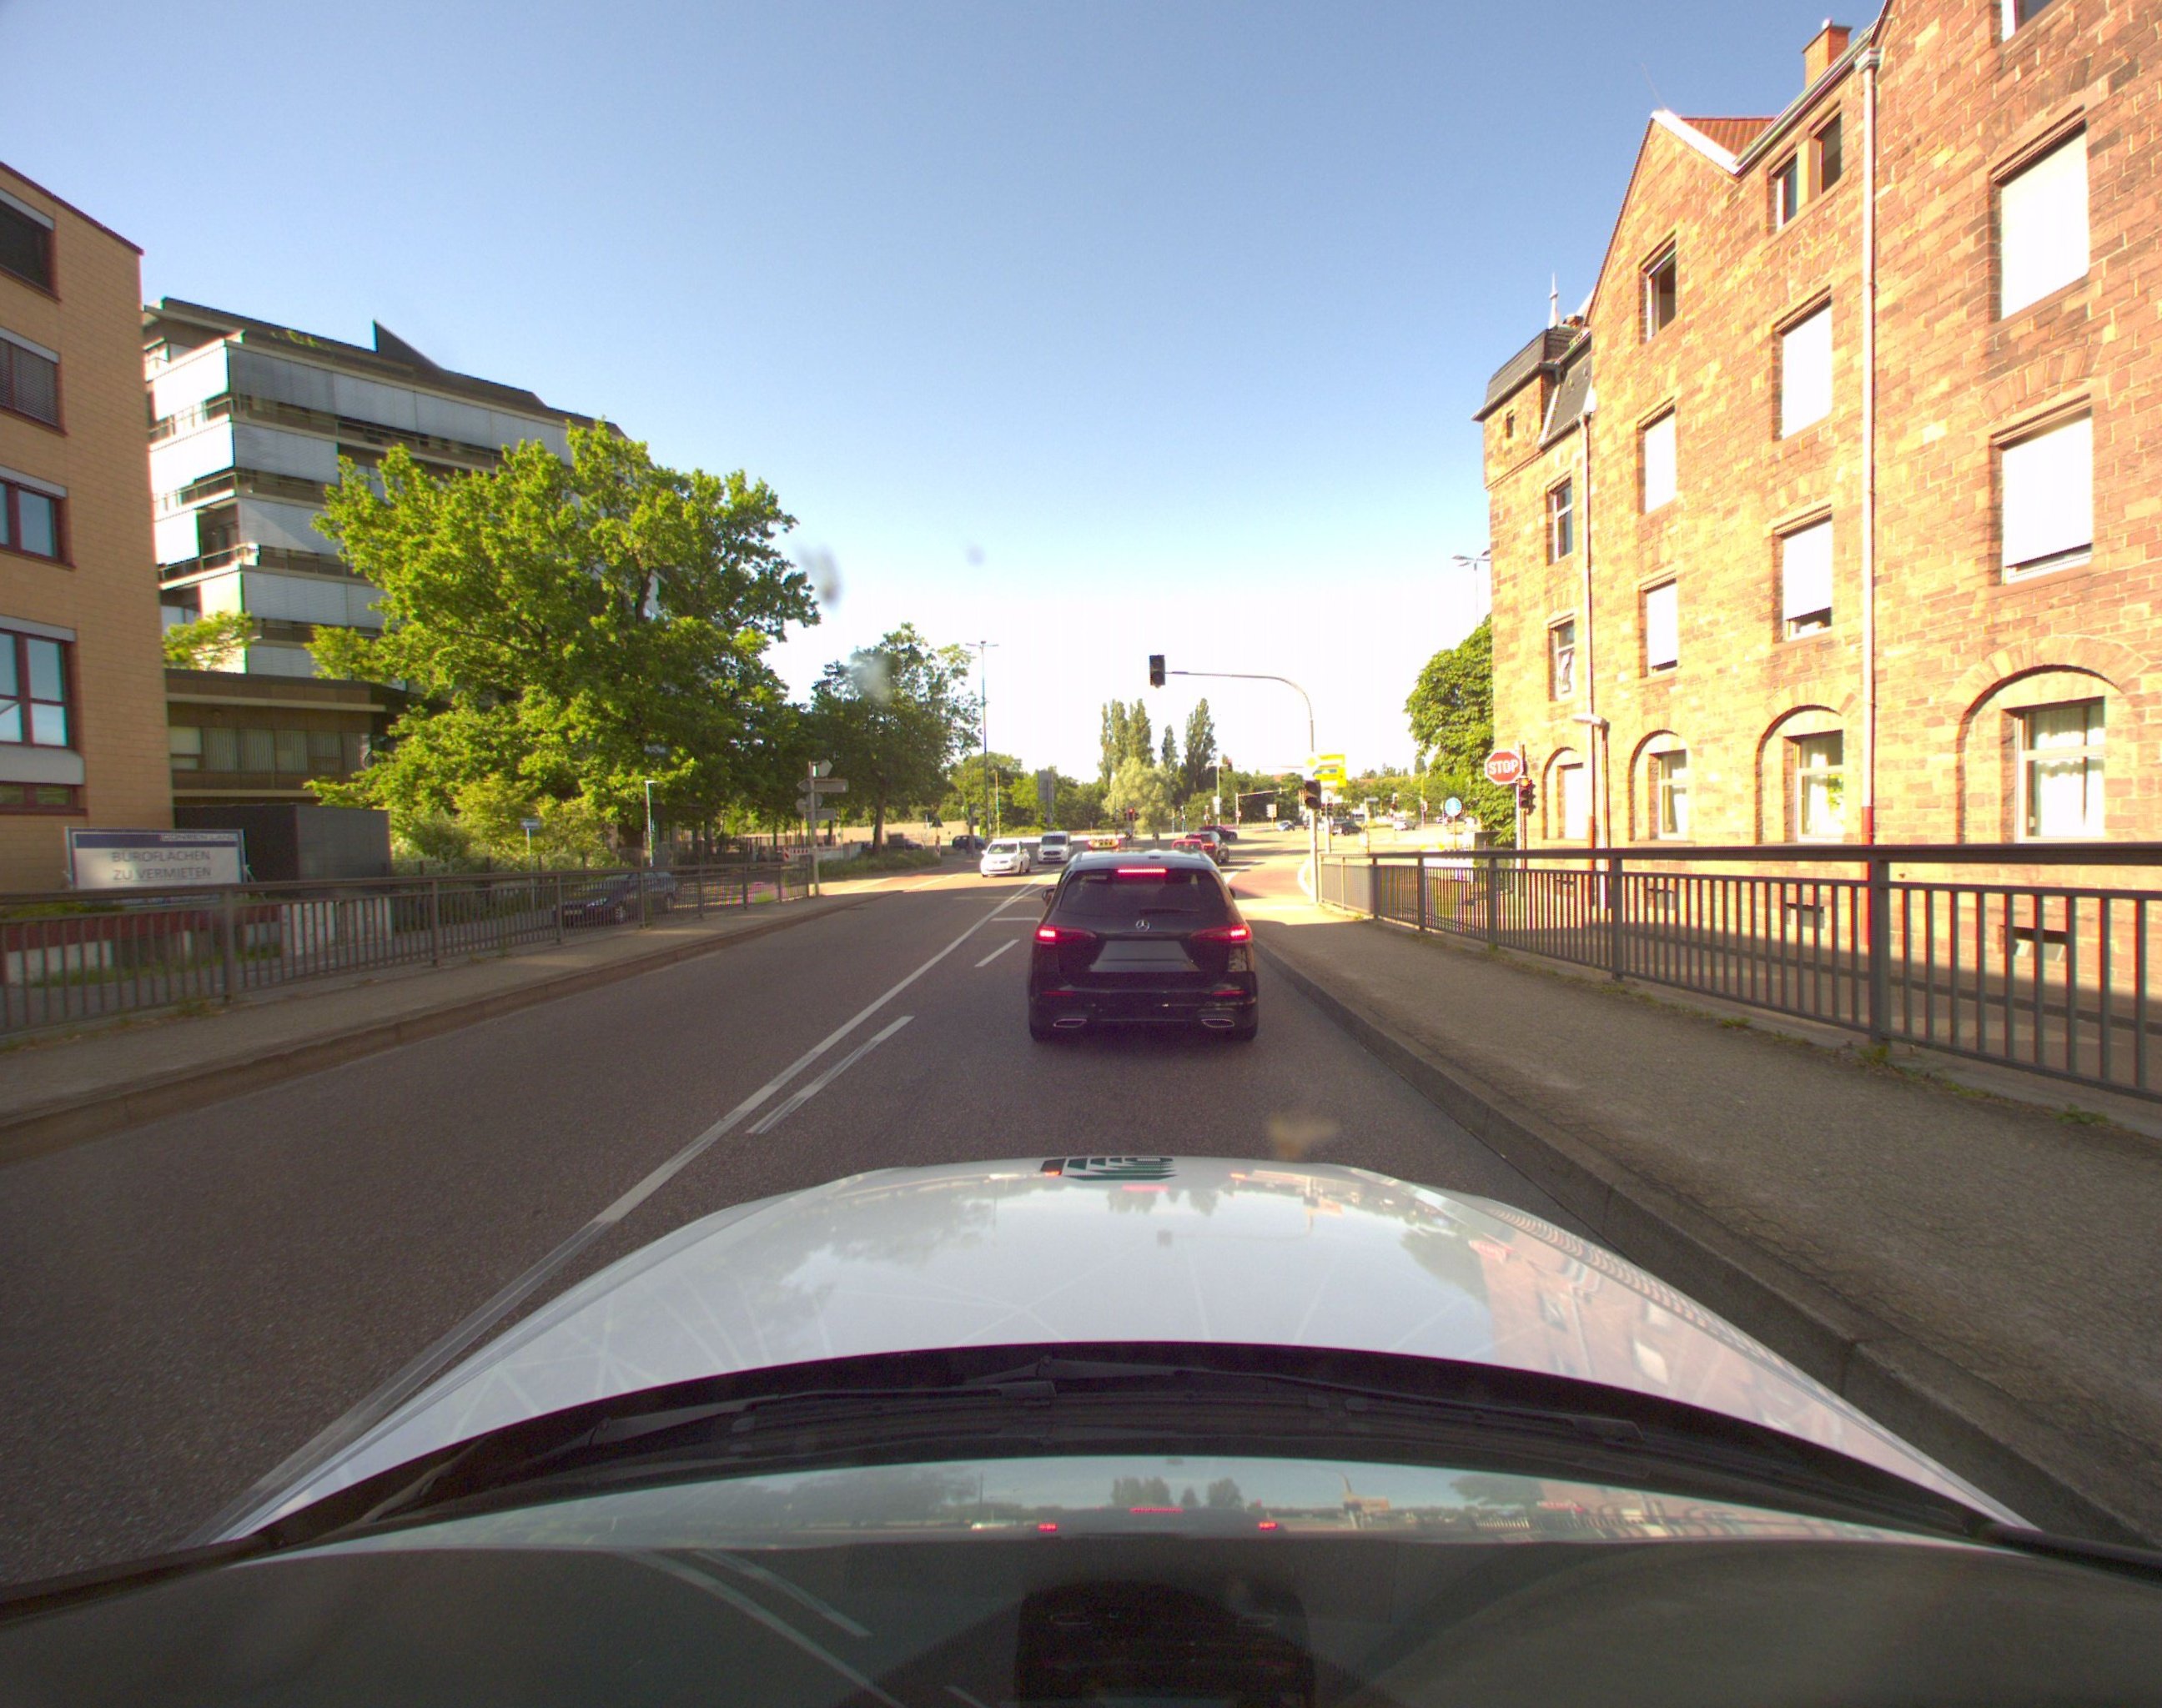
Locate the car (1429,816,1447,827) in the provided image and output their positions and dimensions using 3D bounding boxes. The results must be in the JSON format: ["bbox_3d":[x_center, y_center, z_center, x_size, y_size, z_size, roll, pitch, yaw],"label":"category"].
[{"bbox_3d":[58.978,-5.338,134.572,1.866,1.547,4.025,-1,-1,35],"label":"car"}]

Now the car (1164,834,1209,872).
[{"bbox_3d":[4.875,-0.082,37.161,1.710,1.521,3.499,-1,3,12],"label":"car"}]

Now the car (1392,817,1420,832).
[{"bbox_3d":[39.585,-3.593,99.077,1.867,1.629,4.025,-1,2,41],"label":"car"}]

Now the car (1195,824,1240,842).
[{"bbox_3d":[13.450,-2.034,80.161,3.980,1.629,1.888,-2,1,-5],"label":"car"}]

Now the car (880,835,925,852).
[{"bbox_3d":[-18.707,-1.082,85.299,4.354,1.629,1.903,-1,1,30],"label":"car"}]

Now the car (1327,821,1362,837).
[{"bbox_3d":[28.489,-2.700,87.920,4.023,1.629,1.868,-3,2,-44],"label":"car"}]

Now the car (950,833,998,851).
[{"bbox_3d":[-10.683,-1.196,81.129,4.357,1.629,1.902,-1,1,24],"label":"car"}]

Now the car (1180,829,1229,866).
[{"bbox_3d":[6.529,-0.375,42.744,1.707,1.812,4.319,-2,1,19],"label":"car"}]

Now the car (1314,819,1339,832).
[{"bbox_3d":[33.813,-3.946,112.125,1.860,1.578,4.026,-1,2,37],"label":"car"}]

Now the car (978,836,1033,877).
[{"bbox_3d":[-3.376,0.065,37.217,1.770,1.635,4.005,-3,1,4],"label":"car"}]

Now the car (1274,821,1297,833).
[{"bbox_3d":[29.551,-3.868,117.601,1.860,1.578,4.026,-1,2,37],"label":"car"}]

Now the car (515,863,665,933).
[{"bbox_3d":[-14.310,1.209,24.036,1.845,1.692,4.002,-2,2,1],"label":"car"}]

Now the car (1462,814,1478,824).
[{"bbox_3d":[62.090,-5.592,130.008,1.722,1.498,4.026,-2,0,35],"label":"car"}]

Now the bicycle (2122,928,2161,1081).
[{"bbox_3d":[8.680,1.182,5.569,0.687,1.140,1.835,0,2,-6],"label":"bicycle"}]

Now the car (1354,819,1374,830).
[{"bbox_3d":[45.572,-4.810,131.199,1.860,1.578,4.026,-1,2,37],"label":"car"}]

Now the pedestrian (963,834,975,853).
[{"bbox_3d":[-9.091,-0.842,65.973,0.700,1.525,0.746,-1,1,12],"label":"pedestrian"}]

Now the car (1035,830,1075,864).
[{"bbox_3d":[-1.490,-0.466,48.062,1.910,1.794,4.902,-3,2,2],"label":"car"}]

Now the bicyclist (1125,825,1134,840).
[{"bbox_3d":[5.181,-2.257,86.918,0.810,1.551,0.521,-4,1,-35],"label":"bicyclist"}]

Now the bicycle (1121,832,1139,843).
[{"bbox_3d":[5.196,-1.755,86.939,1.999,1.050,0.521,-4,1,-35],"label":"bicycle"}]

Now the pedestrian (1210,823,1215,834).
[{"bbox_3d":[19.102,-3.751,118.085,0.445,1.585,0.505,-2,1,42],"label":"pedestrian"}]

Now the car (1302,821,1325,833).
[{"bbox_3d":[33.570,-3.906,117.669,1.860,1.578,4.026,-1,2,37],"label":"car"}]

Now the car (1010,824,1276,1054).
[{"bbox_3d":[0.483,0.582,7.764,1.871,1.613,4.001,-1,1,1],"label":"car"}]

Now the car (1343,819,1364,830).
[{"bbox_3d":[41.304,-4.431,123.316,1.860,1.578,4.026,-1,2,37],"label":"car"}]

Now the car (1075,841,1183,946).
[{"bbox_3d":[0.856,0.596,14.520,1.633,1.529,3.477,-3,1,3],"label":"car"}]
